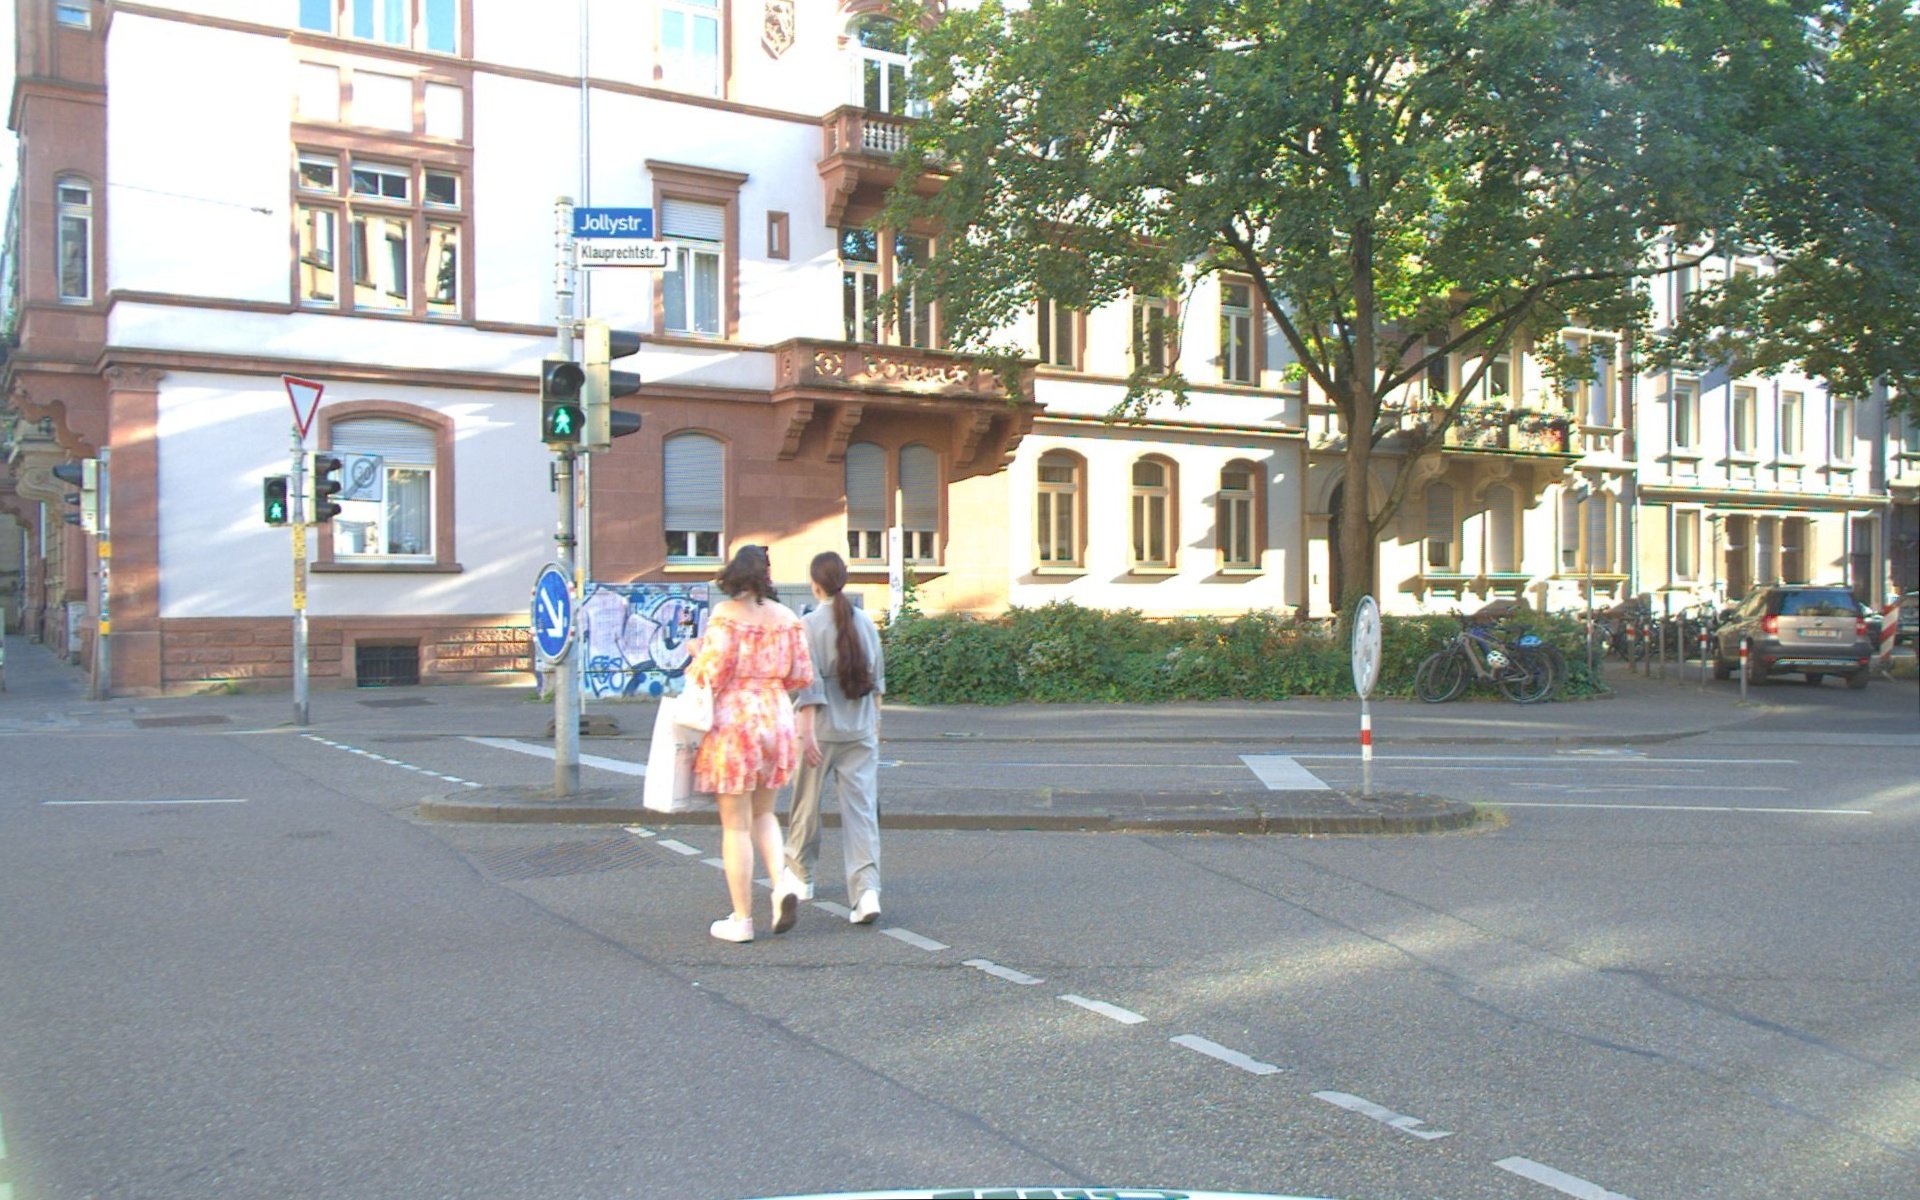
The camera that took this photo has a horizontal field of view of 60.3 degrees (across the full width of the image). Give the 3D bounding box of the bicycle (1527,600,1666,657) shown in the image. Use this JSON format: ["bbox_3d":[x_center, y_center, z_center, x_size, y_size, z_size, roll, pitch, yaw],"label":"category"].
[{"bbox_3d":[14.167,0.610,36.953,0.742,1.201,3.104,0,0,-31],"label":"bicycle"}]

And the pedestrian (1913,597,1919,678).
[{"bbox_3d":[17.412,0.659,29.289,0.748,1.437,0.668,-1,-1,17],"label":"pedestrian"}]

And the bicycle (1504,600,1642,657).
[{"bbox_3d":[13.500,0.599,36.549,0.742,1.201,3.104,0,0,-31],"label":"bicycle"}]

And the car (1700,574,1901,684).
[{"bbox_3d":[14.116,0.453,28.040,1.951,1.713,4.004,0,0,10],"label":"car"}]

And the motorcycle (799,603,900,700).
[{"bbox_3d":[-1.584,0.687,23.249,0.828,1.287,2.097,0,0,-21],"label":"motorcycle"}]

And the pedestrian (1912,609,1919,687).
[{"bbox_3d":[16.878,0.830,28.619,0.558,1.343,0.505,-1,0,14],"label":"pedestrian"}]

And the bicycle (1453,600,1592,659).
[{"bbox_3d":[12.082,0.613,35.661,0.742,1.201,3.104,0,0,-31],"label":"bicycle"}]

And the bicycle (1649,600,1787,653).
[{"bbox_3d":[17.945,0.600,39.242,0.742,1.201,3.104,0,0,-31],"label":"bicycle"}]

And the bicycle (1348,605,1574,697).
[{"bbox_3d":[6.803,0.690,22.557,2.886,1.217,0.548,0,0,7],"label":"bicycle"}]

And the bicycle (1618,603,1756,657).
[{"bbox_3d":[16.965,0.669,38.683,0.742,1.201,3.104,0,0,-31],"label":"bicycle"}]

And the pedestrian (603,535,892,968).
[{"bbox_3d":[-0.938,0.601,7.244,0.862,1.727,0.969,0,0,-42],"label":"pedestrian"}]

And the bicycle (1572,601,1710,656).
[{"bbox_3d":[15.530,0.638,37.835,0.742,1.201,3.104,0,0,-31],"label":"bicycle"}]

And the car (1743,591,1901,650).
[{"bbox_3d":[21.604,0.484,41.454,3.702,1.400,1.909,0,0,-31],"label":"car"}]

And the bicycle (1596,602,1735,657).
[{"bbox_3d":[16.262,0.654,38.233,0.742,1.201,3.104,0,0,-31],"label":"bicycle"}]

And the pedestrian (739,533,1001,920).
[{"bbox_3d":[-0.443,0.560,8.038,0.862,1.727,0.969,0,0,-42],"label":"pedestrian"}]

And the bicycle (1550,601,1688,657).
[{"bbox_3d":[14.858,0.625,37.397,0.742,1.201,3.104,0,0,-31],"label":"bicycle"}]

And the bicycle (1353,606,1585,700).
[{"bbox_3d":[6.730,0.696,21.966,2.886,1.217,0.548,0,0,7],"label":"bicycle"}]

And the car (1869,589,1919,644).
[{"bbox_3d":[26.137,0.409,43.955,3.702,1.400,1.909,0,0,-31],"label":"car"}]

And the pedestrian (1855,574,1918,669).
[{"bbox_3d":[17.006,0.398,30.374,0.749,1.699,0.668,-1,-1,2],"label":"pedestrian"}]
